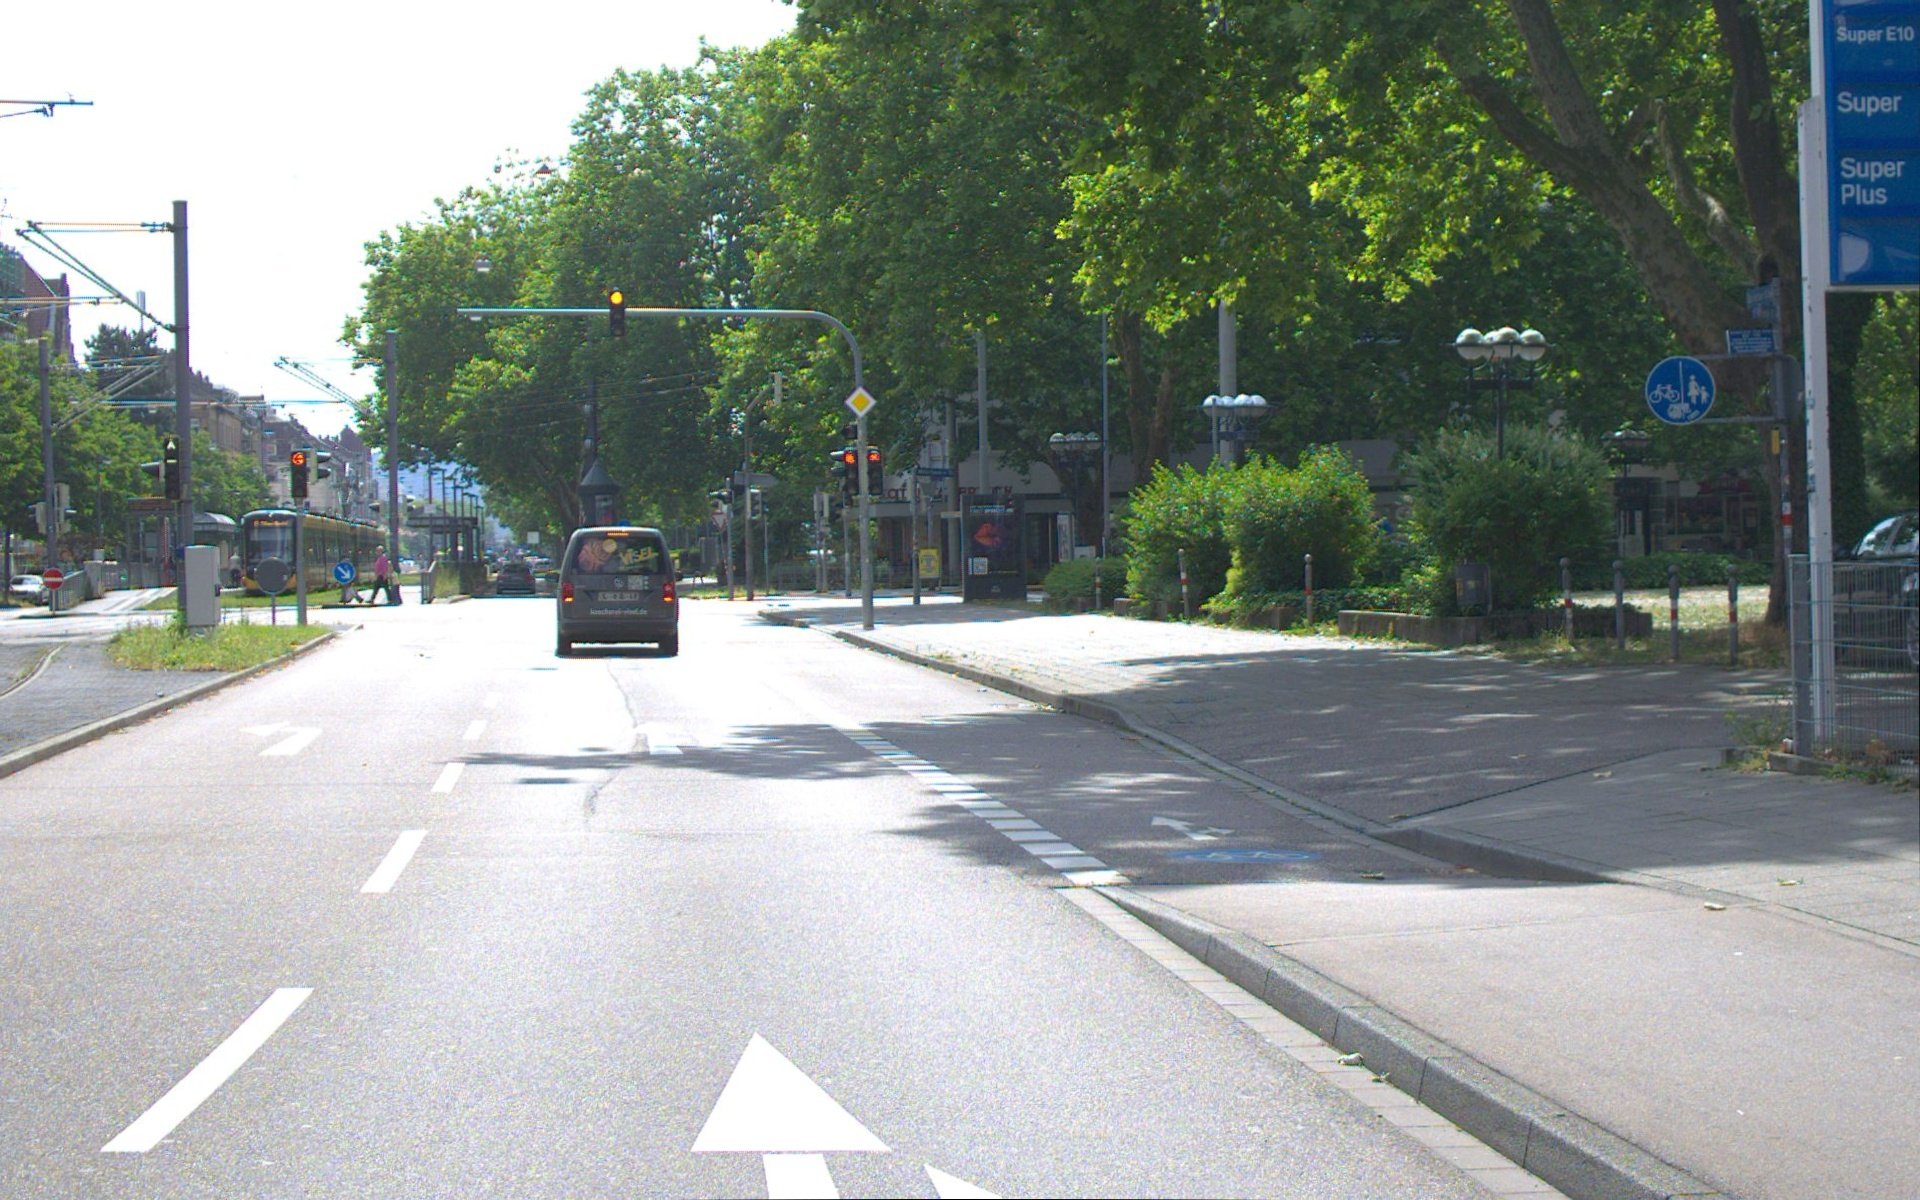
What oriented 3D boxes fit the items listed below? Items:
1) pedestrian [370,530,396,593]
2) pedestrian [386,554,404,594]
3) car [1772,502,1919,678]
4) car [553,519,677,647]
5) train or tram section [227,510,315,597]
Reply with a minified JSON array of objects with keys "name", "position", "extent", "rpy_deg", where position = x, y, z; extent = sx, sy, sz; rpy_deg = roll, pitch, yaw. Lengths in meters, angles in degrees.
[{"name":"pedestrian","position":[-16.607,-1.113,98.928],"extent":[0.659,1.778,0.660],"rpy_deg":[-2,1,-6]},{"name":"pedestrian","position":[-16.394,-0.747,99.830],"extent":[0.463,1.140,0.435],"rpy_deg":[-2,1,-6]},{"name":"car","position":[8.658,-0.130,30.112],"extent":[1.648,1.465,4.044],"rpy_deg":[-2,1,-7]},{"name":"car","position":[-5.047,-0.262,50.199],"extent":[1.750,1.802,3.475],"rpy_deg":[0,1,-6]},{"name":"train or tram section","position":[-27.889,-1.915,139.509],"extent":[2.240,3.320,12.974],"rpy_deg":[-2,1,-6]}]
